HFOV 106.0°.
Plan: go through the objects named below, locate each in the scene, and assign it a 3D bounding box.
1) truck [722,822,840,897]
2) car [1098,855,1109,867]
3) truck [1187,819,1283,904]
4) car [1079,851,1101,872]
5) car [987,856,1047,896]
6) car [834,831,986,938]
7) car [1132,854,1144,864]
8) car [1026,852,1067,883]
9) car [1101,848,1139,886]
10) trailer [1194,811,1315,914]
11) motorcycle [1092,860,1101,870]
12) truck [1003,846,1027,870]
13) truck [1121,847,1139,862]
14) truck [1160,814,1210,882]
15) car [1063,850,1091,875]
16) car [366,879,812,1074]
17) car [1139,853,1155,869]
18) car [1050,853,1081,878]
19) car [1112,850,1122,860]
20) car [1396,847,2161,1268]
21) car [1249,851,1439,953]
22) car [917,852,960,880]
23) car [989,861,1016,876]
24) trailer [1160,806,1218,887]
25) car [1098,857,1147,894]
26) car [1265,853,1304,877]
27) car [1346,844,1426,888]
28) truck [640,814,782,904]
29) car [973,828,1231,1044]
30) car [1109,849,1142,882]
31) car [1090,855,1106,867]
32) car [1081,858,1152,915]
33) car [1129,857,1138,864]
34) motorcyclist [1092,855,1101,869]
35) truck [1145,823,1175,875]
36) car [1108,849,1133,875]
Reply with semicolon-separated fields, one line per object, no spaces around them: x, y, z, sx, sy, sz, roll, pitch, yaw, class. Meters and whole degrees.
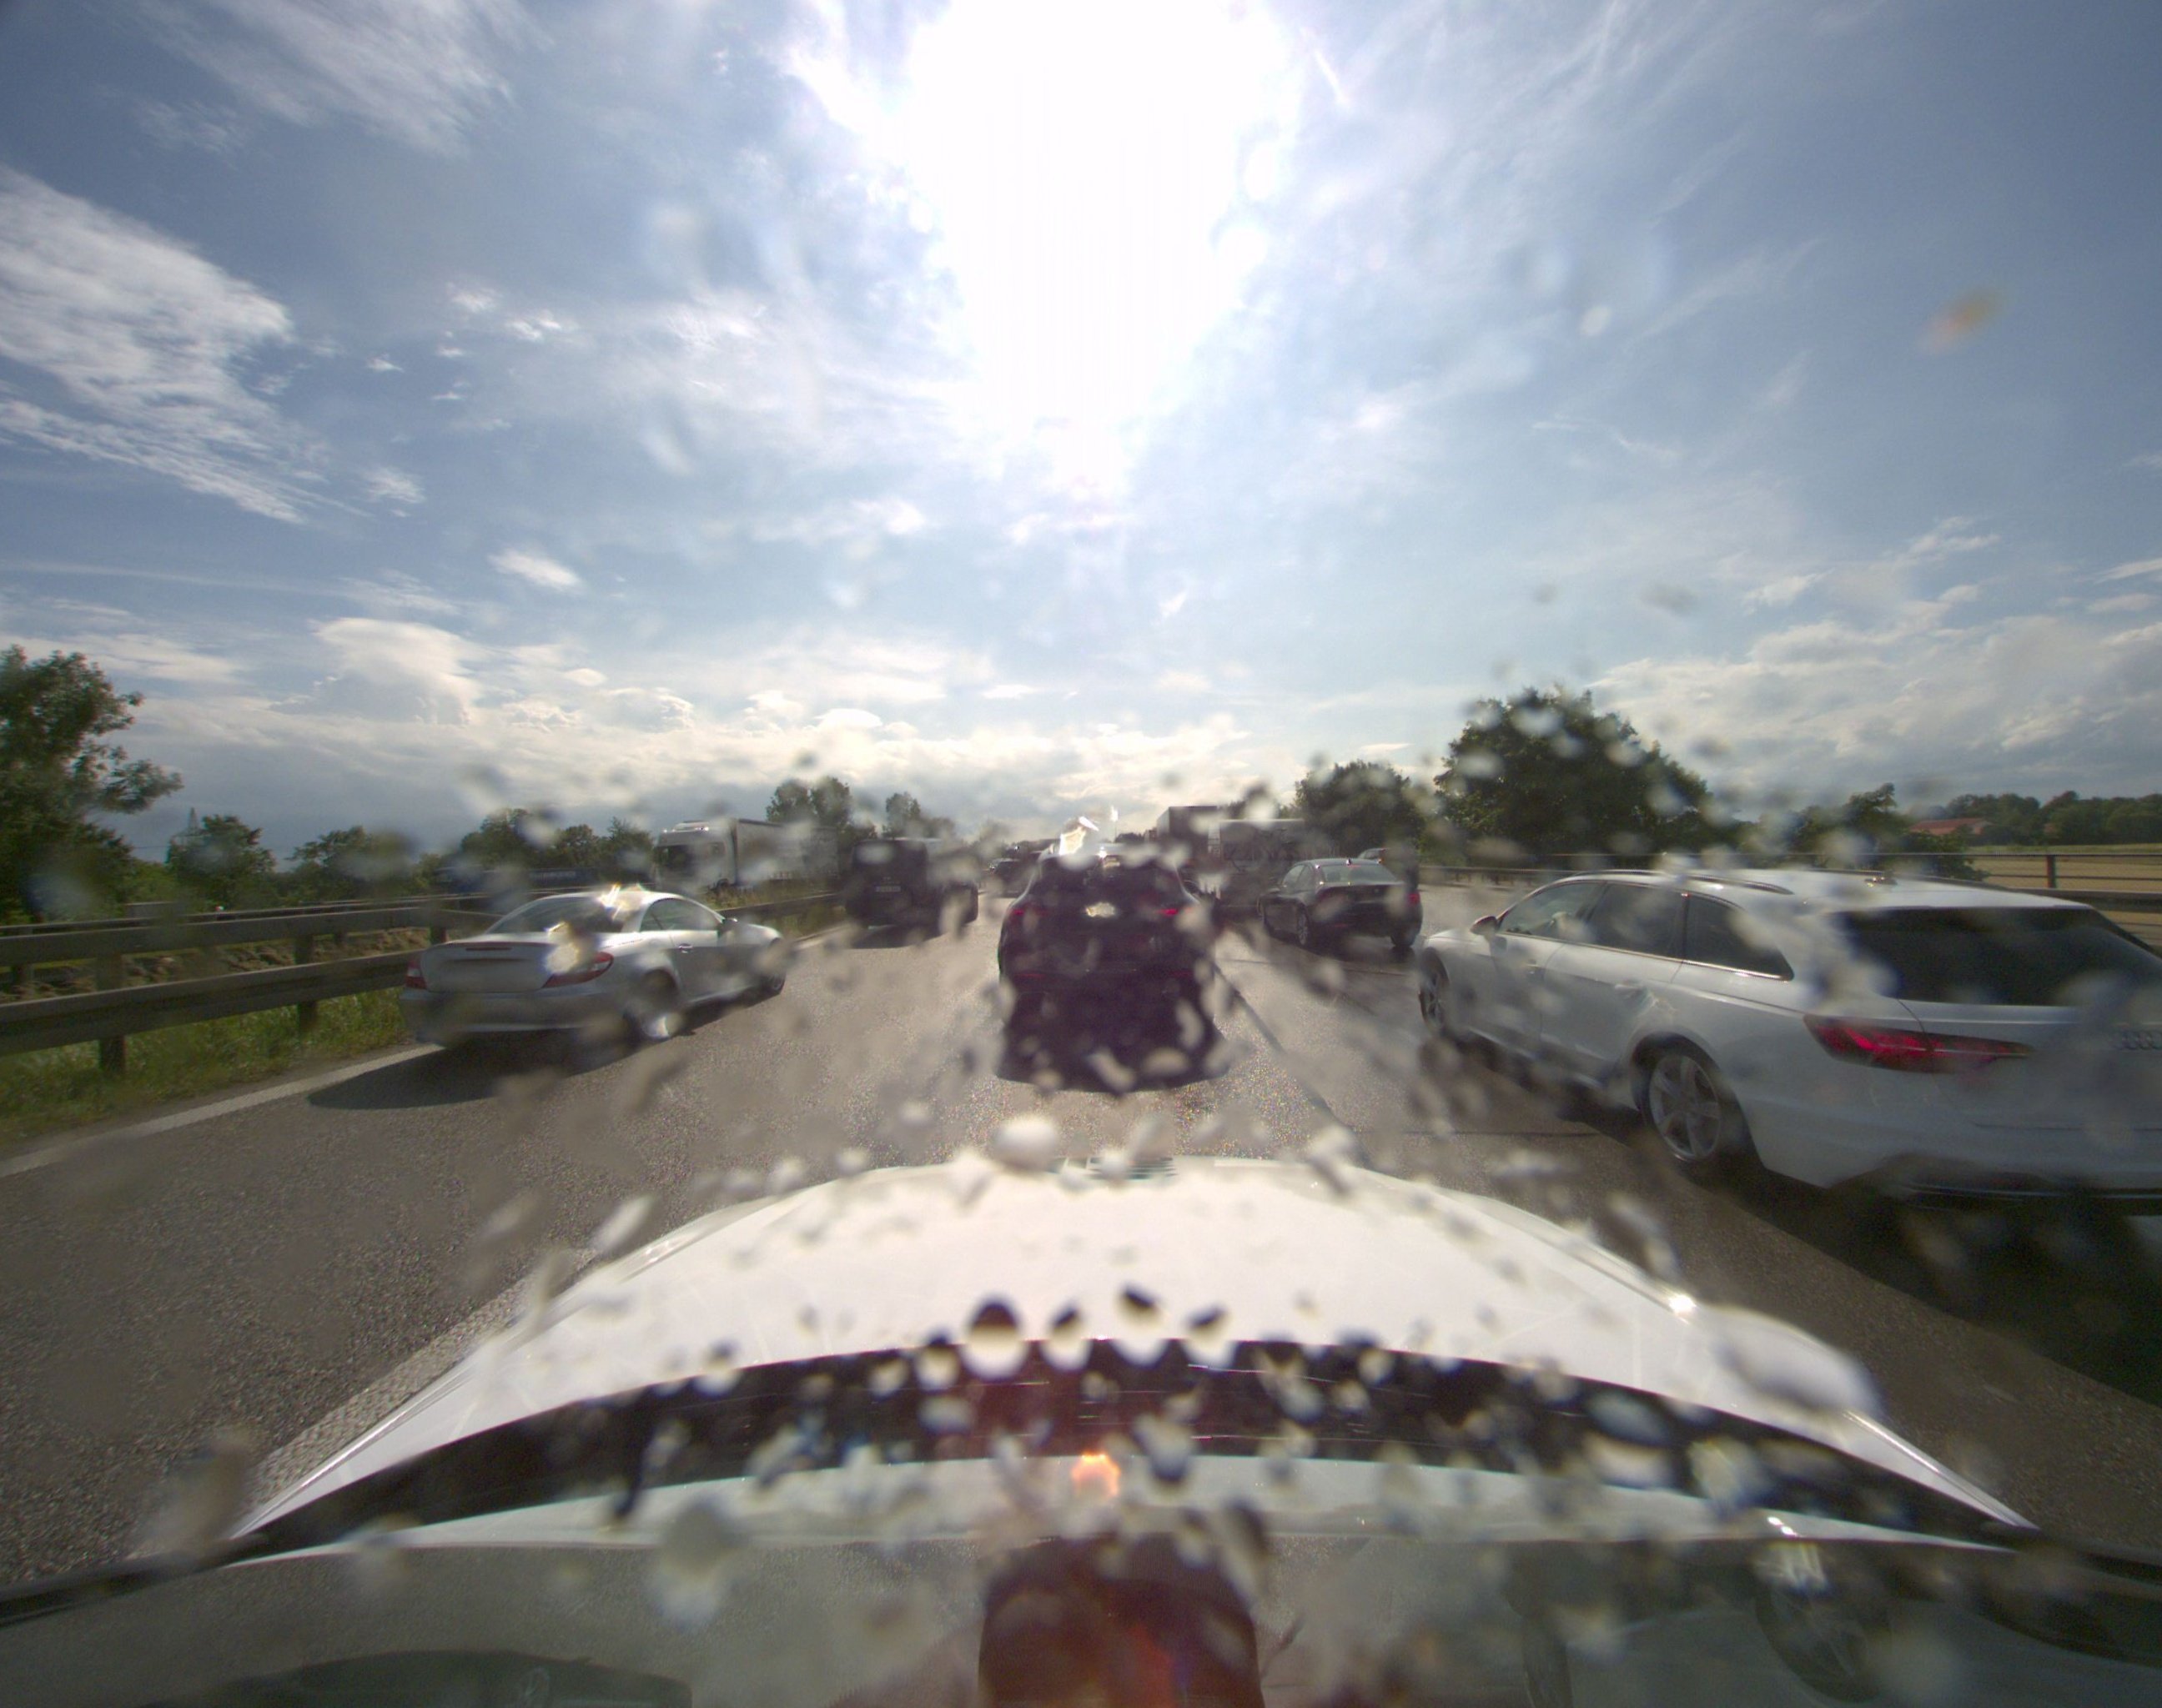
-17.041;0.388;47.141;2.837;3.853;9.429;-1;-1;3;truck
4.018;1.261;145.800;1.986;2.013;4.001;3;0;1;car
4.885;0.247;26.777;2.364;2.477;5.760;0;0;3;truck
0.921;0.759;82.244;1.985;2.014;4.004;0;0;4;car
-2.533;0.842;33.103;1.749;1.516;4.213;-1;0;4;car
-3.610;0.595;18.332;1.985;2.013;5.274;-1;0;3;car
10.346;0.880;148.086;1.870;1.760;4.000;0;0;0;car
-1.907;0.745;46.353;1.986;1.720;4.002;0;0;2;car
2.197;0.683;44.969;1.985;2.014;4.004;0;0;4;car
4.672;0.225;23.039;2.364;2.483;6.528;0;0;3;trailer
2.056;1.431;106.342;1.069;1.271;2.692;-1;0;4;motorcycle
-11.779;0.676;145.999;2.992;4.103;7.692;-3;-1;3;truck
12.932;0.155;215.014;3.831;4.017;11.217;0;0;-1;truck
6.579;-0.355;52.317;2.981;4.166;5.248;-1;0;5;truck
-0.308;0.705;68.915;1.985;2.013;4.004;3;0;4;car
-4.277;0.962;7.986;1.717;1.278;4.067;-1;0;3;car
8.523;0.897;105.069;1.985;2.013;4.004;3;0;4;car
-1.131;0.822;61.131;1.985;1.772;4.004;0;0;4;car
6.653;0.173;150.726;1.870;1.760;4.000;0;0;0;car
3.687;0.751;5.057;1.820;1.425;4.511;1;-1;1;car
4.375;0.740;14.292;1.843;1.464;4.253;-2;-1;-2;car
-11.854;0.923;68.349;1.985;2.208;6.985;-1;0;3;car
-7.658;1.376;79.709;1.985;1.460;4.101;0;0;3;car
6.066;-0.370;46.852;2.992;4.166;8.548;-1;0;5;trailer
1.677;0.819;32.463;1.798;1.407;4.004;0;0;3;car
13.849;0.768;55.665;1.841;1.568;4.003;-1;0;3;car
12.241;0.458;33.000;1.813;1.620;4.367;0;0;3;car
-17.441;0.292;39.147;2.850;3.821;7.883;-1;-1;3;truck
0.281;0.661;8.567;1.985;1.661;4.409;-1;0;3;car
2.960;0.738;53.201;1.985;2.013;4.004;3;0;4;car
2.454;0.989;116.012;1.985;1.616;4.004;3;0;4;car
1.034;0.828;22.281;1.749;1.387;3.949;-1;0;4;car
12.176;1.523;188.039;1.870;1.760;4.000;0;0;0;car
2.056;1.047;106.435;1.059;1.718;0.786;-1;-1;3;motorcyclist
7.569;-0.445;78.920;2.492;4.830;7.547;0;-1;2;truck
3.314;0.669;67.897;1.985;2.014;4.004;-1;0;4;car
